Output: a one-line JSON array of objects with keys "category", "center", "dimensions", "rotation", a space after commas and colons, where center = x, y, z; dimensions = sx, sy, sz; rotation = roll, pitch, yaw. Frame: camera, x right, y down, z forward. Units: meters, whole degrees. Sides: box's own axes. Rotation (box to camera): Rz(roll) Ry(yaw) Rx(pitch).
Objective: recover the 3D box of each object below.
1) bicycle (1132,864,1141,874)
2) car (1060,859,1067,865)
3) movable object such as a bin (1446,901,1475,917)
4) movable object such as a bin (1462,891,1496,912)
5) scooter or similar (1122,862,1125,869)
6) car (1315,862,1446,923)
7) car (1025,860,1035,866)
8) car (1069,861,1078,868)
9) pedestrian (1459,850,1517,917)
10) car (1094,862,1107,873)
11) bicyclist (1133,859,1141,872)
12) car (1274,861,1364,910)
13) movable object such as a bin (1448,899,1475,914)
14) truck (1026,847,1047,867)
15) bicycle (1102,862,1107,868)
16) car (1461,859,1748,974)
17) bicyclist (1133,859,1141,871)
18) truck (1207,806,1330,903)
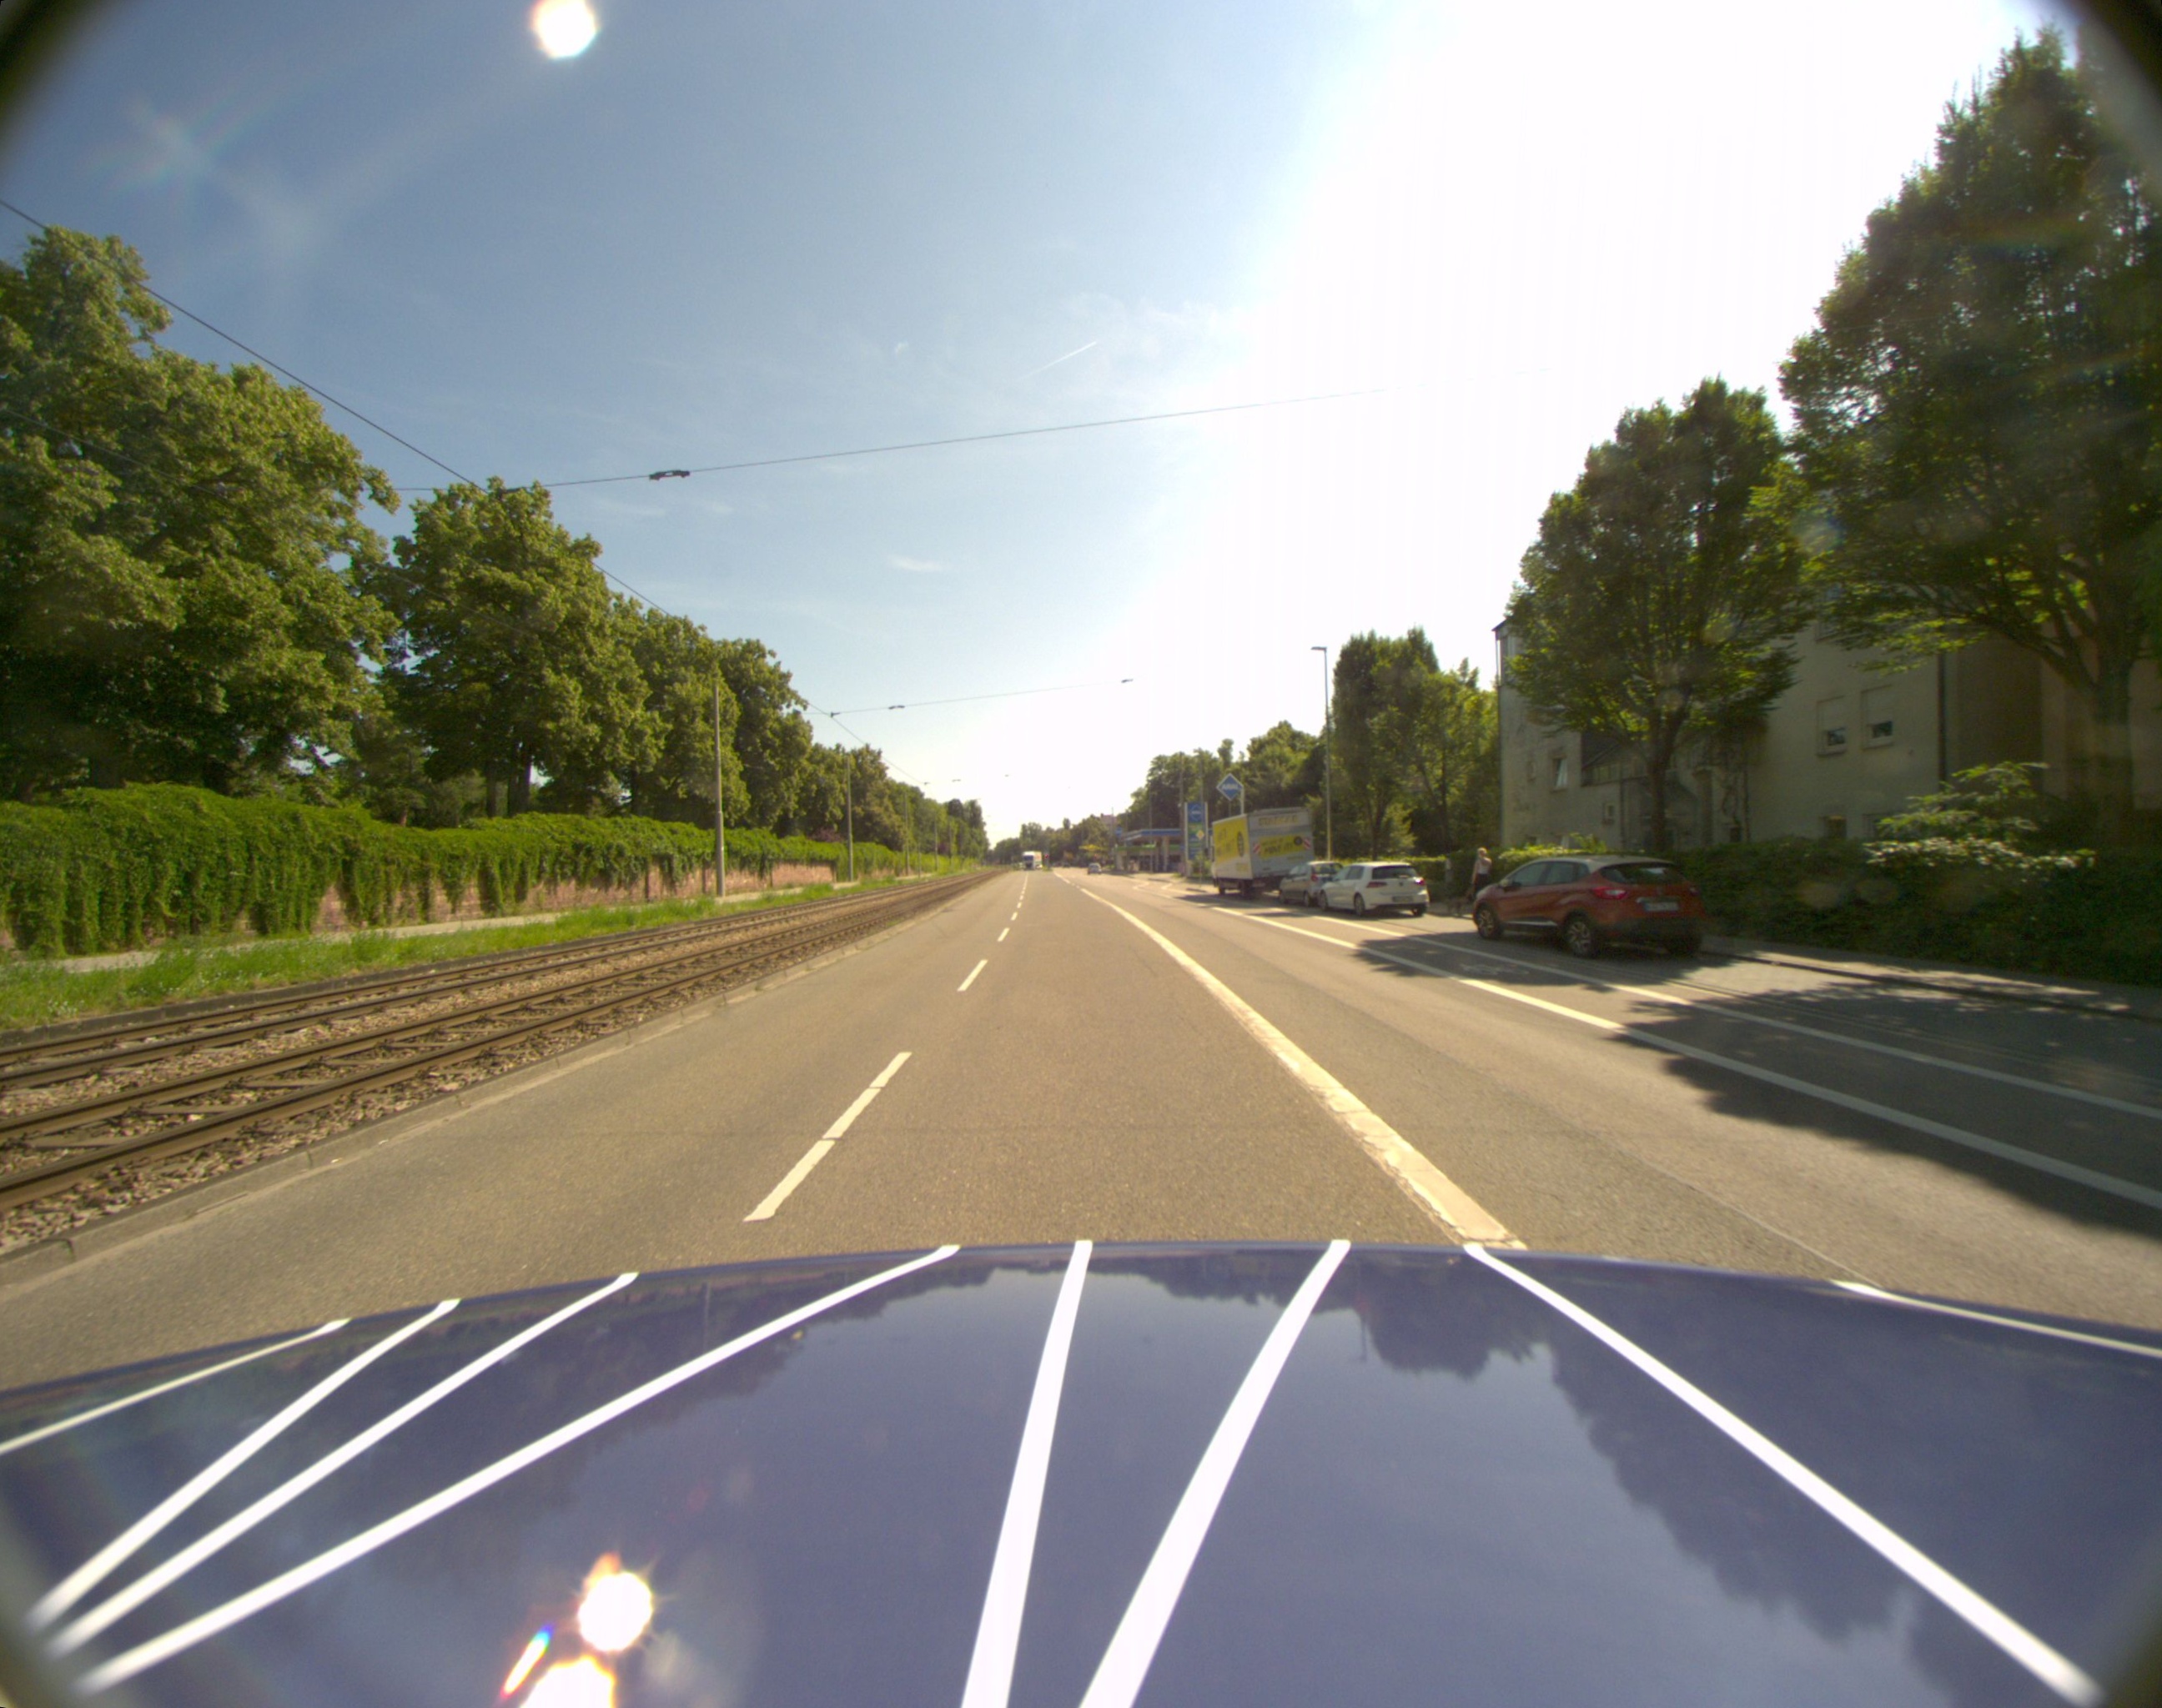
[{"category": "bicycle", "center": [6.698, 1.804, 91.361], "dimensions": [0.827, 1.088, 2.772], "rotation": [-1, 0, 0]}, {"category": "car", "center": [-5.674, 2.652, 247.739], "dimensions": [1.827, 1.661, 3.999], "rotation": [-2, -2, -8]}, {"category": "movable object such as a bin", "center": [9.746, 1.420, 19.540], "dimensions": [0.327, 0.352, 0.756], "rotation": [-1, 0, -3]}, {"category": "movable object such as a bin", "center": [10.934, 1.302, 20.871], "dimensions": [0.327, 0.513, 1.075], "rotation": [-1, 0, -3]}, {"category": "scooter or similar", "center": [7.188, 1.966, 127.885], "dimensions": [0.442, 1.230, 1.346], "rotation": [-1, 0, 6]}, {"category": "car", "center": [8.167, 0.984, 21.171], "dimensions": [1.762, 1.420, 4.281], "rotation": [-3, 0, -2]}, {"category": "car", "center": [-12.638, 2.233, 188.431], "dimensions": [1.932, 1.593, 4.465], "rotation": [-2, 0, -10]}, {"category": "car", "center": [-1.985, 2.794, 201.823], "dimensions": [1.827, 1.661, 3.999], "rotation": [-2, -2, -8]}, {"category": "pedestrian", "center": [10.527, 0.746, 19.676], "dimensions": [0.877, 1.681, 1.055], "rotation": [-1, 0, -3]}, {"category": "car", "center": [2.521, 1.756, 99.654], "dimensions": [1.663, 1.412, 4.310], "rotation": [0, 0, 0]}, {"category": "bicyclist", "center": [6.729, 1.391, 92.005], "dimensions": [0.849, 1.427, 0.832], "rotation": [-2, -1, 0]}, {"category": "car", "center": [8.013, 1.017, 25.915], "dimensions": [1.614, 1.475, 3.634], "rotation": [-3, 0, -4]}, {"category": "movable object such as a bin", "center": [10.343, 1.425, 20.647], "dimensions": [0.327, 0.337, 0.756], "rotation": [-1, 0, -3]}, {"category": "truck", "center": [-9.562, 0.695, 165.766], "dimensions": [2.852, 3.983, 14.309], "rotation": [-1, -1, 3]}, {"category": "bicycle", "center": [5.033, 2.387, 161.742], "dimensions": [0.940, 1.168, 2.211], "rotation": [-1, -1, -2]}, {"category": "car", "center": [8.463, 0.891, 12.863], "dimensions": [1.735, 1.542, 4.318], "rotation": [-2, 0, -2]}, {"category": "bicyclist", "center": [6.693, 1.365, 91.180], "dimensions": [0.849, 1.427, 0.832], "rotation": [-1, 0, 0]}, {"category": "truck", "center": [7.721, 0.061, 32.693], "dimensions": [2.674, 3.509, 8.589], "rotation": [-3, 0, -3]}]
